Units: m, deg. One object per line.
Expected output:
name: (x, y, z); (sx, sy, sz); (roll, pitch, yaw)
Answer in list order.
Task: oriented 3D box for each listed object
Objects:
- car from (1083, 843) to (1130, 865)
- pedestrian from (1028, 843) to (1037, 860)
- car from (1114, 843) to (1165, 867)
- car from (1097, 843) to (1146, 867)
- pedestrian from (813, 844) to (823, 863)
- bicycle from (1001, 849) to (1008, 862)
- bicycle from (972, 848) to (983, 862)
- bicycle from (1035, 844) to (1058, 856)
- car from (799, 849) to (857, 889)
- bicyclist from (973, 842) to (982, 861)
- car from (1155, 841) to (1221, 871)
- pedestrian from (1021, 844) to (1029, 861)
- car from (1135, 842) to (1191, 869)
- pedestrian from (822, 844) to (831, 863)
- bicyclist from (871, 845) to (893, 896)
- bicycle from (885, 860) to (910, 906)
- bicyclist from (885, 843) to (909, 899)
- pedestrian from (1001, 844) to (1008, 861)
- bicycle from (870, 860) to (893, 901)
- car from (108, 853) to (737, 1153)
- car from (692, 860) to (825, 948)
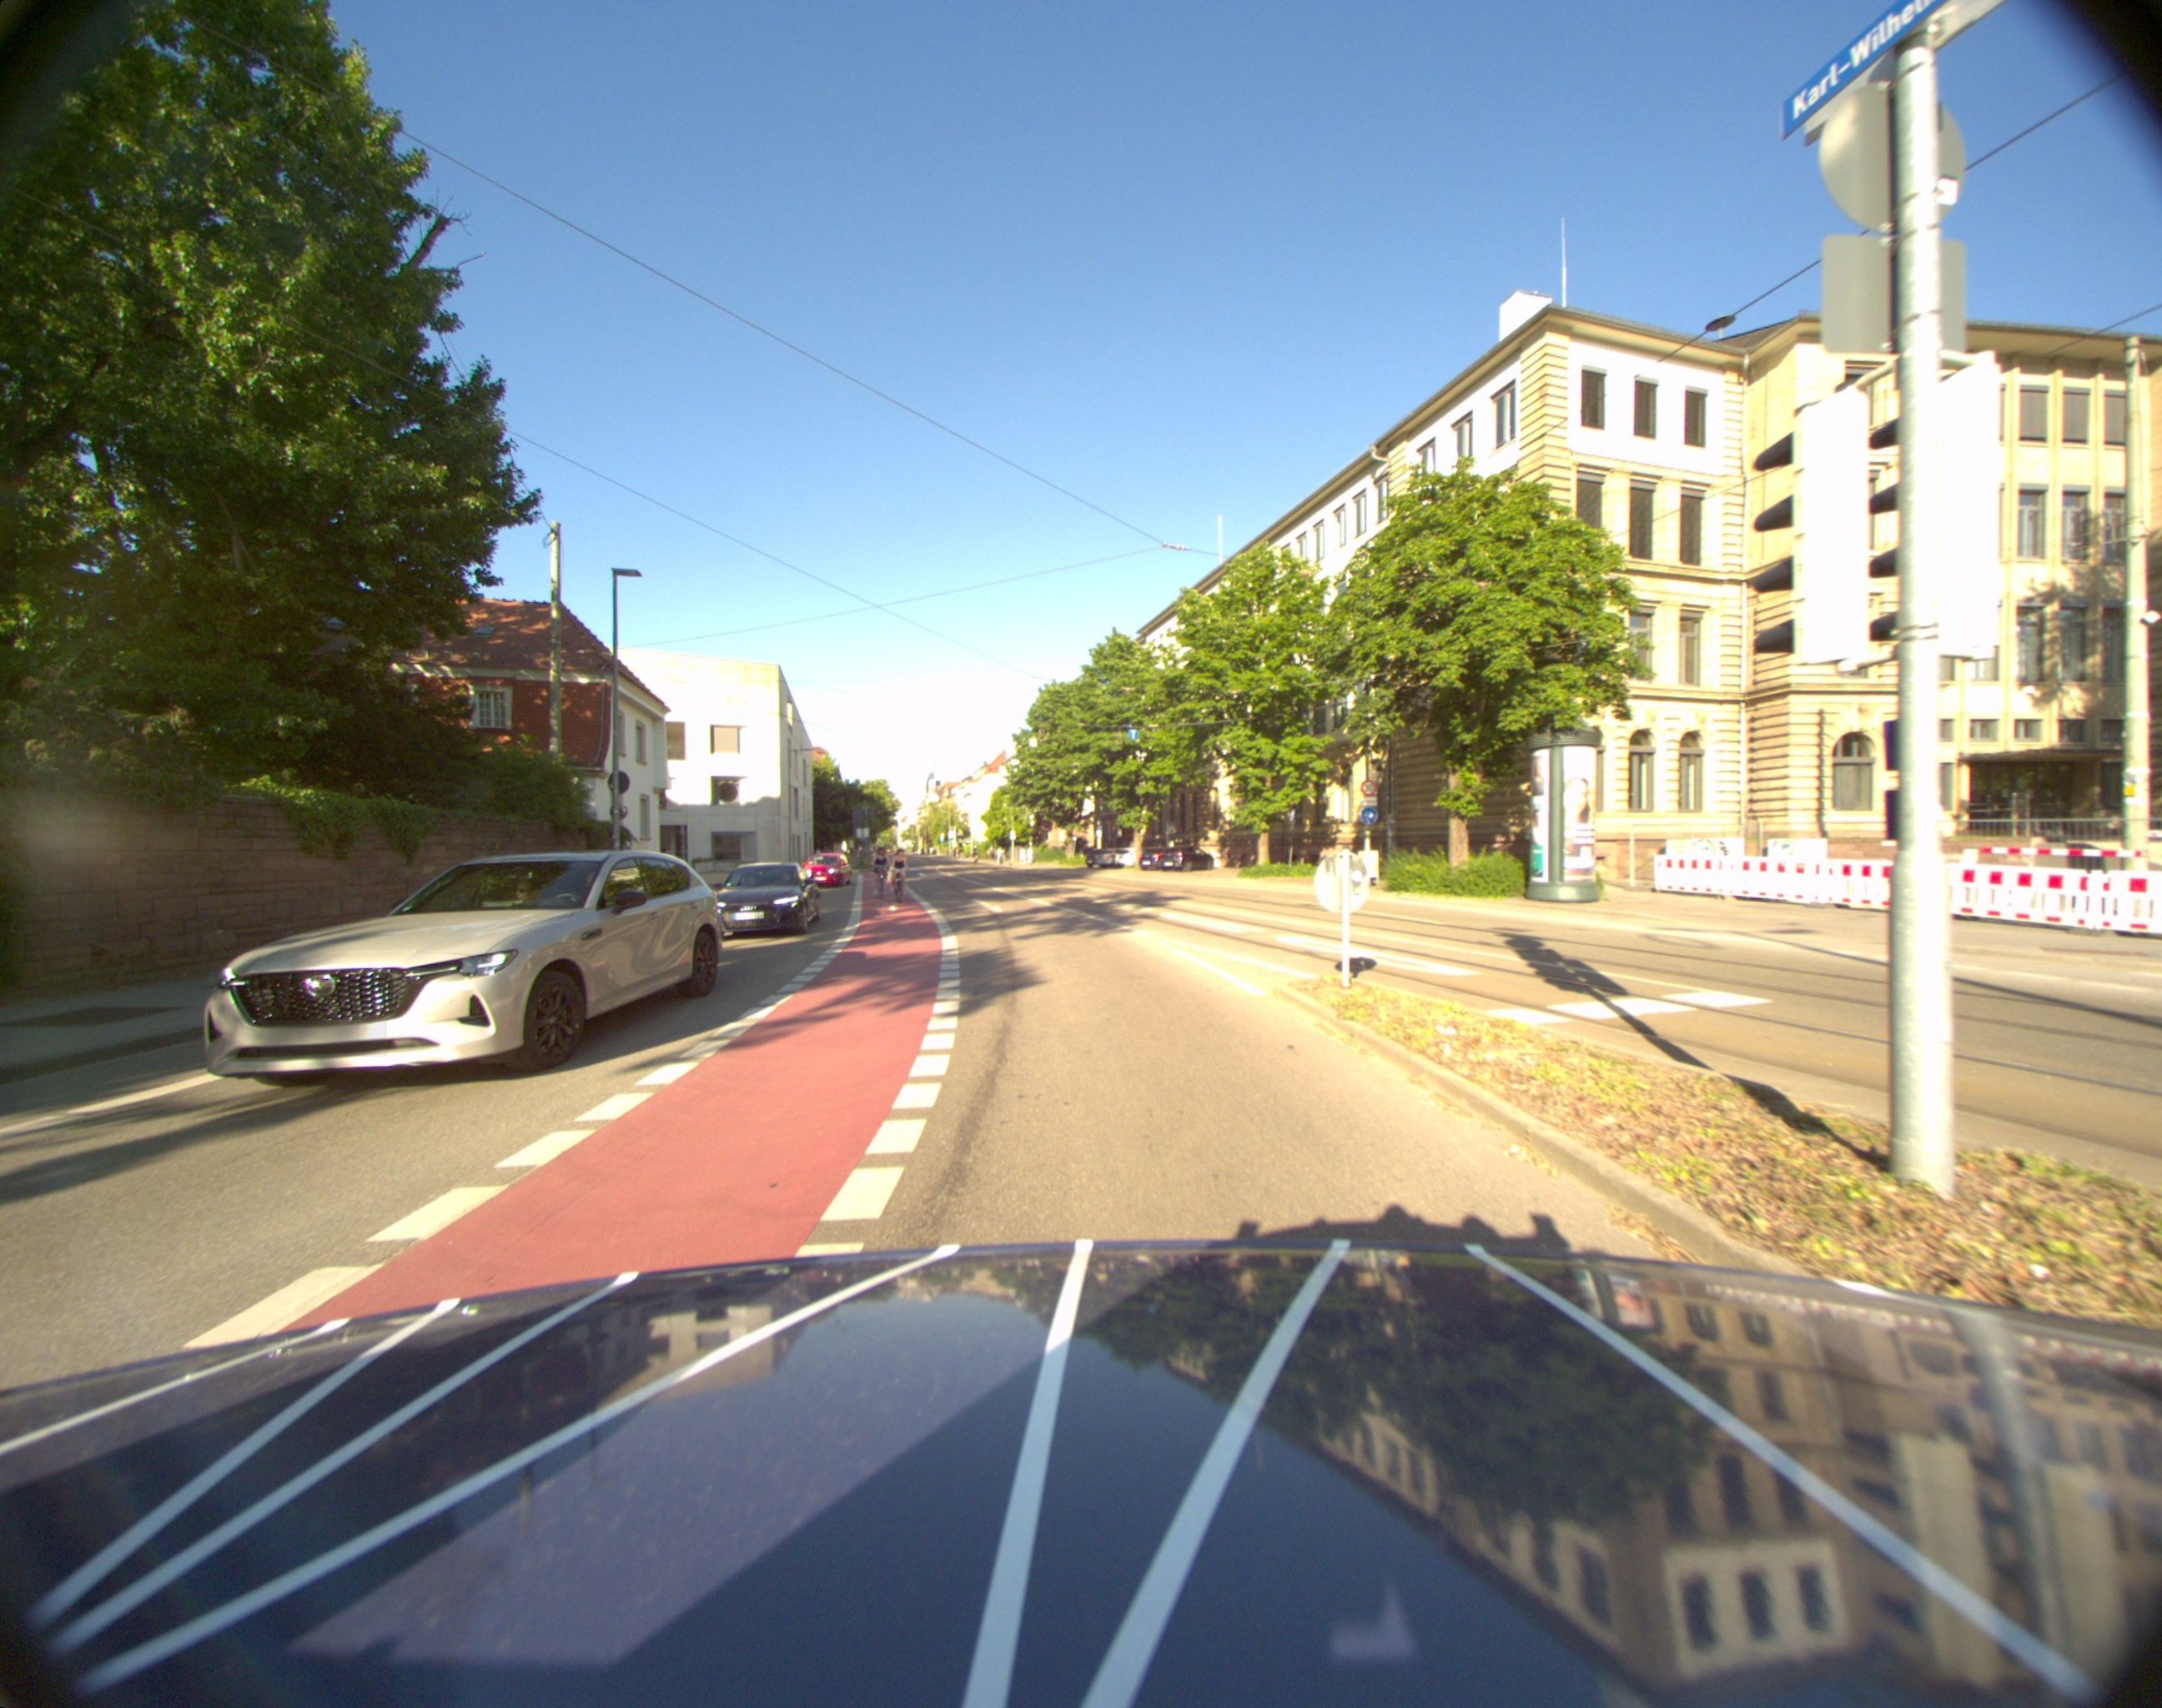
car: (1.996, 0.007, 59.329); (1.645, 1.552, 3.657); (-1, 2, 42)
pedestrian: (-4.868, -0.244, 75.847); (0.676, 1.638, 0.816); (-2, 1, -14)
car: (4.176, 0.048, 53.872); (1.645, 1.552, 3.657); (-1, 2, 42)
car: (2.991, 0.045, 56.000); (1.645, 1.552, 3.657); (-1, 2, 42)
pedestrian: (-23.172, -0.060, 66.940); (0.676, 1.638, 0.816); (-2, 1, -14)
bicycle: (-7.491, 0.145, 74.623); (0.676, 1.243, 2.455); (-1, 1, -6)
bicycle: (-9.272, 0.074, 67.947); (0.676, 1.243, 2.453); (-1, 1, -14)
bicycle: (-3.712, -0.456, 81.979); (2.459, 1.243, 0.675); (-1, 1, -18)
car: (-11.066, 0.601, 33.465); (1.650, 1.552, 3.647); (-3, 1, -6)
bicyclist: (-9.300, -0.224, 67.990); (0.676, 1.638, 1.028); (-1, 1, -14)
car: (6.454, 0.091, 45.680); (1.841, 1.621, 4.189); (-1, 2, 42)
pedestrian: (-5.554, -0.140, 75.570); (0.676, 1.638, 0.816); (-2, 1, -14)
car: (5.243, 0.069, 48.235); (1.645, 1.552, 3.657); (-1, 2, 42)
pedestrian: (-22.472, -0.054, 67.117); (0.676, 1.638, 0.816); (-2, 1, -14)
bicyclist: (-6.603, 0.521, 25.223); (0.676, 1.638, 1.028); (-1, 1, -14)
bicycle: (-5.469, 0.825, 22.632); (0.676, 1.243, 2.453); (-1, 1, -14)
bicyclist: (-5.479, 0.491, 22.628); (0.676, 1.638, 1.028); (-1, 1, -14)
pedestrian: (-7.502, -0.149, 74.613); (0.675, 1.638, 0.817); (-1, 1, -5)
bicycle: (-6.614, 0.849, 25.243); (0.676, 1.243, 2.453); (-1, 1, -14)
car: (-5.050, 0.909, 6.952); (1.946, 1.683, 4.528); (-3, 1, -4)
car: (-6.467, 0.908, 15.706); (1.790, 1.425, 3.995); (-3, 1, -13)
